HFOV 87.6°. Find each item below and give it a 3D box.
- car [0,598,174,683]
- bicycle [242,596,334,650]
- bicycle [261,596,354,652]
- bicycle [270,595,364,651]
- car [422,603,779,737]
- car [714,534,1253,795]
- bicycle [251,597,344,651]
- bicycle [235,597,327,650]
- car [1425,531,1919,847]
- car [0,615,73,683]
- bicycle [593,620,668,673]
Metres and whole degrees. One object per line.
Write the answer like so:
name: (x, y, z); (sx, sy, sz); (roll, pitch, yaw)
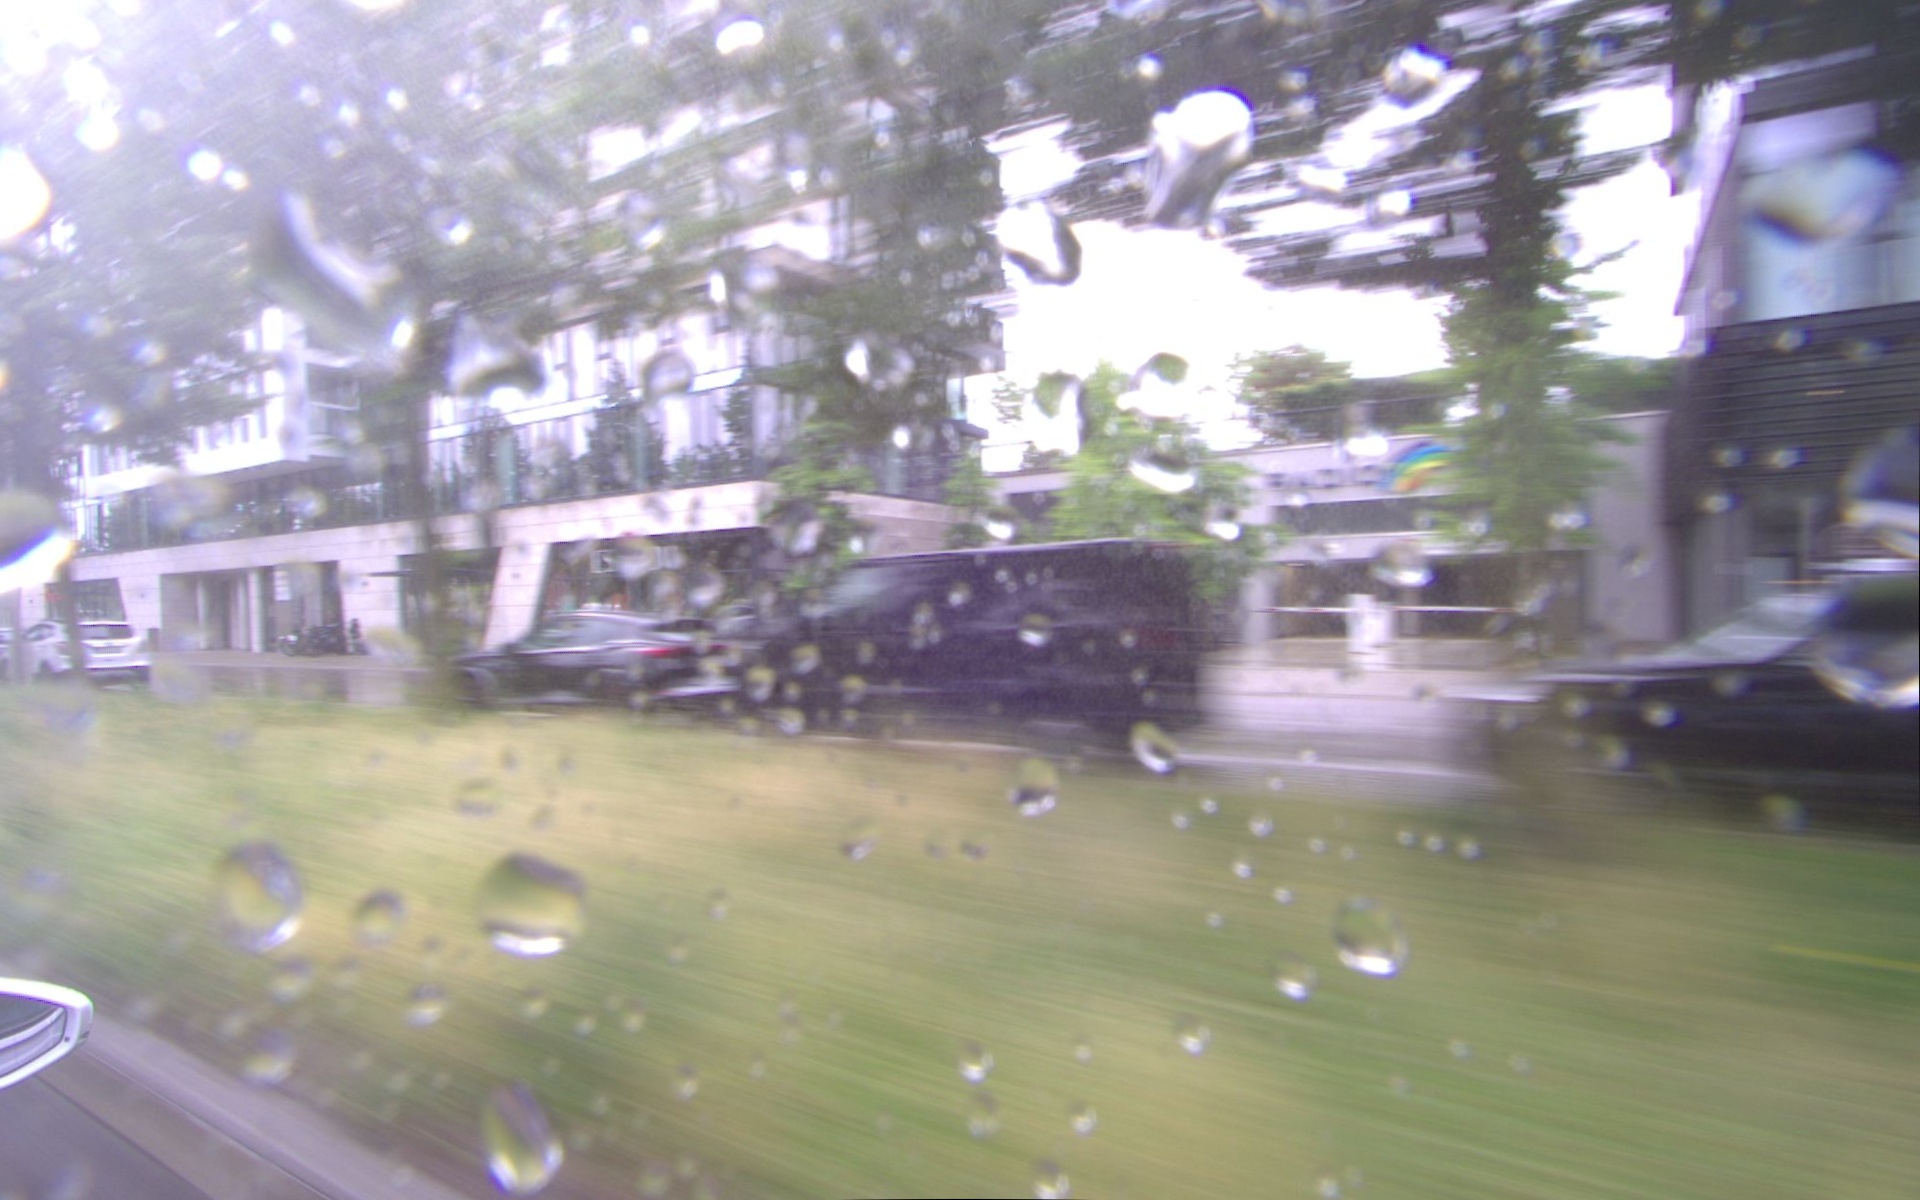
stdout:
car: (-20.156, 0.838, 22.938); (4.656, 1.692, 1.989); (1, 1, 33)
bicycle: (-24.303, 0.817, 36.294); (0.698, 1.885, 2.670); (0, 0, 37)
bicycle: (-23.029, 0.828, 35.407); (0.698, 1.885, 2.670); (0, 0, 37)
bicycle: (-22.409, 0.784, 34.972); (0.698, 1.885, 2.670); (0, 0, 37)
car: (-4.786, 0.847, 13.294); (4.411, 1.533, 1.955); (-1, 0, 27)
car: (0.084, 0.438, 9.772); (4.957, 1.979, 1.989); (1, 1, 33)
bicycle: (-23.674, 0.827, 35.831); (0.698, 1.885, 2.670); (0, 0, 37)
bicycle: (-24.885, 0.831, 36.748); (0.698, 1.885, 2.670); (0, 0, 37)
car: (5.684, 0.504, 6.181); (4.888, 1.691, 1.990); (0, -1, 33)
car: (-24.297, 1.208, 25.525); (3.603, 1.511, 1.621); (1, 1, 33)
bicycle: (-7.526, 1.048, 22.813); (2.037, 1.145, 0.516); (-1, 0, 35)
